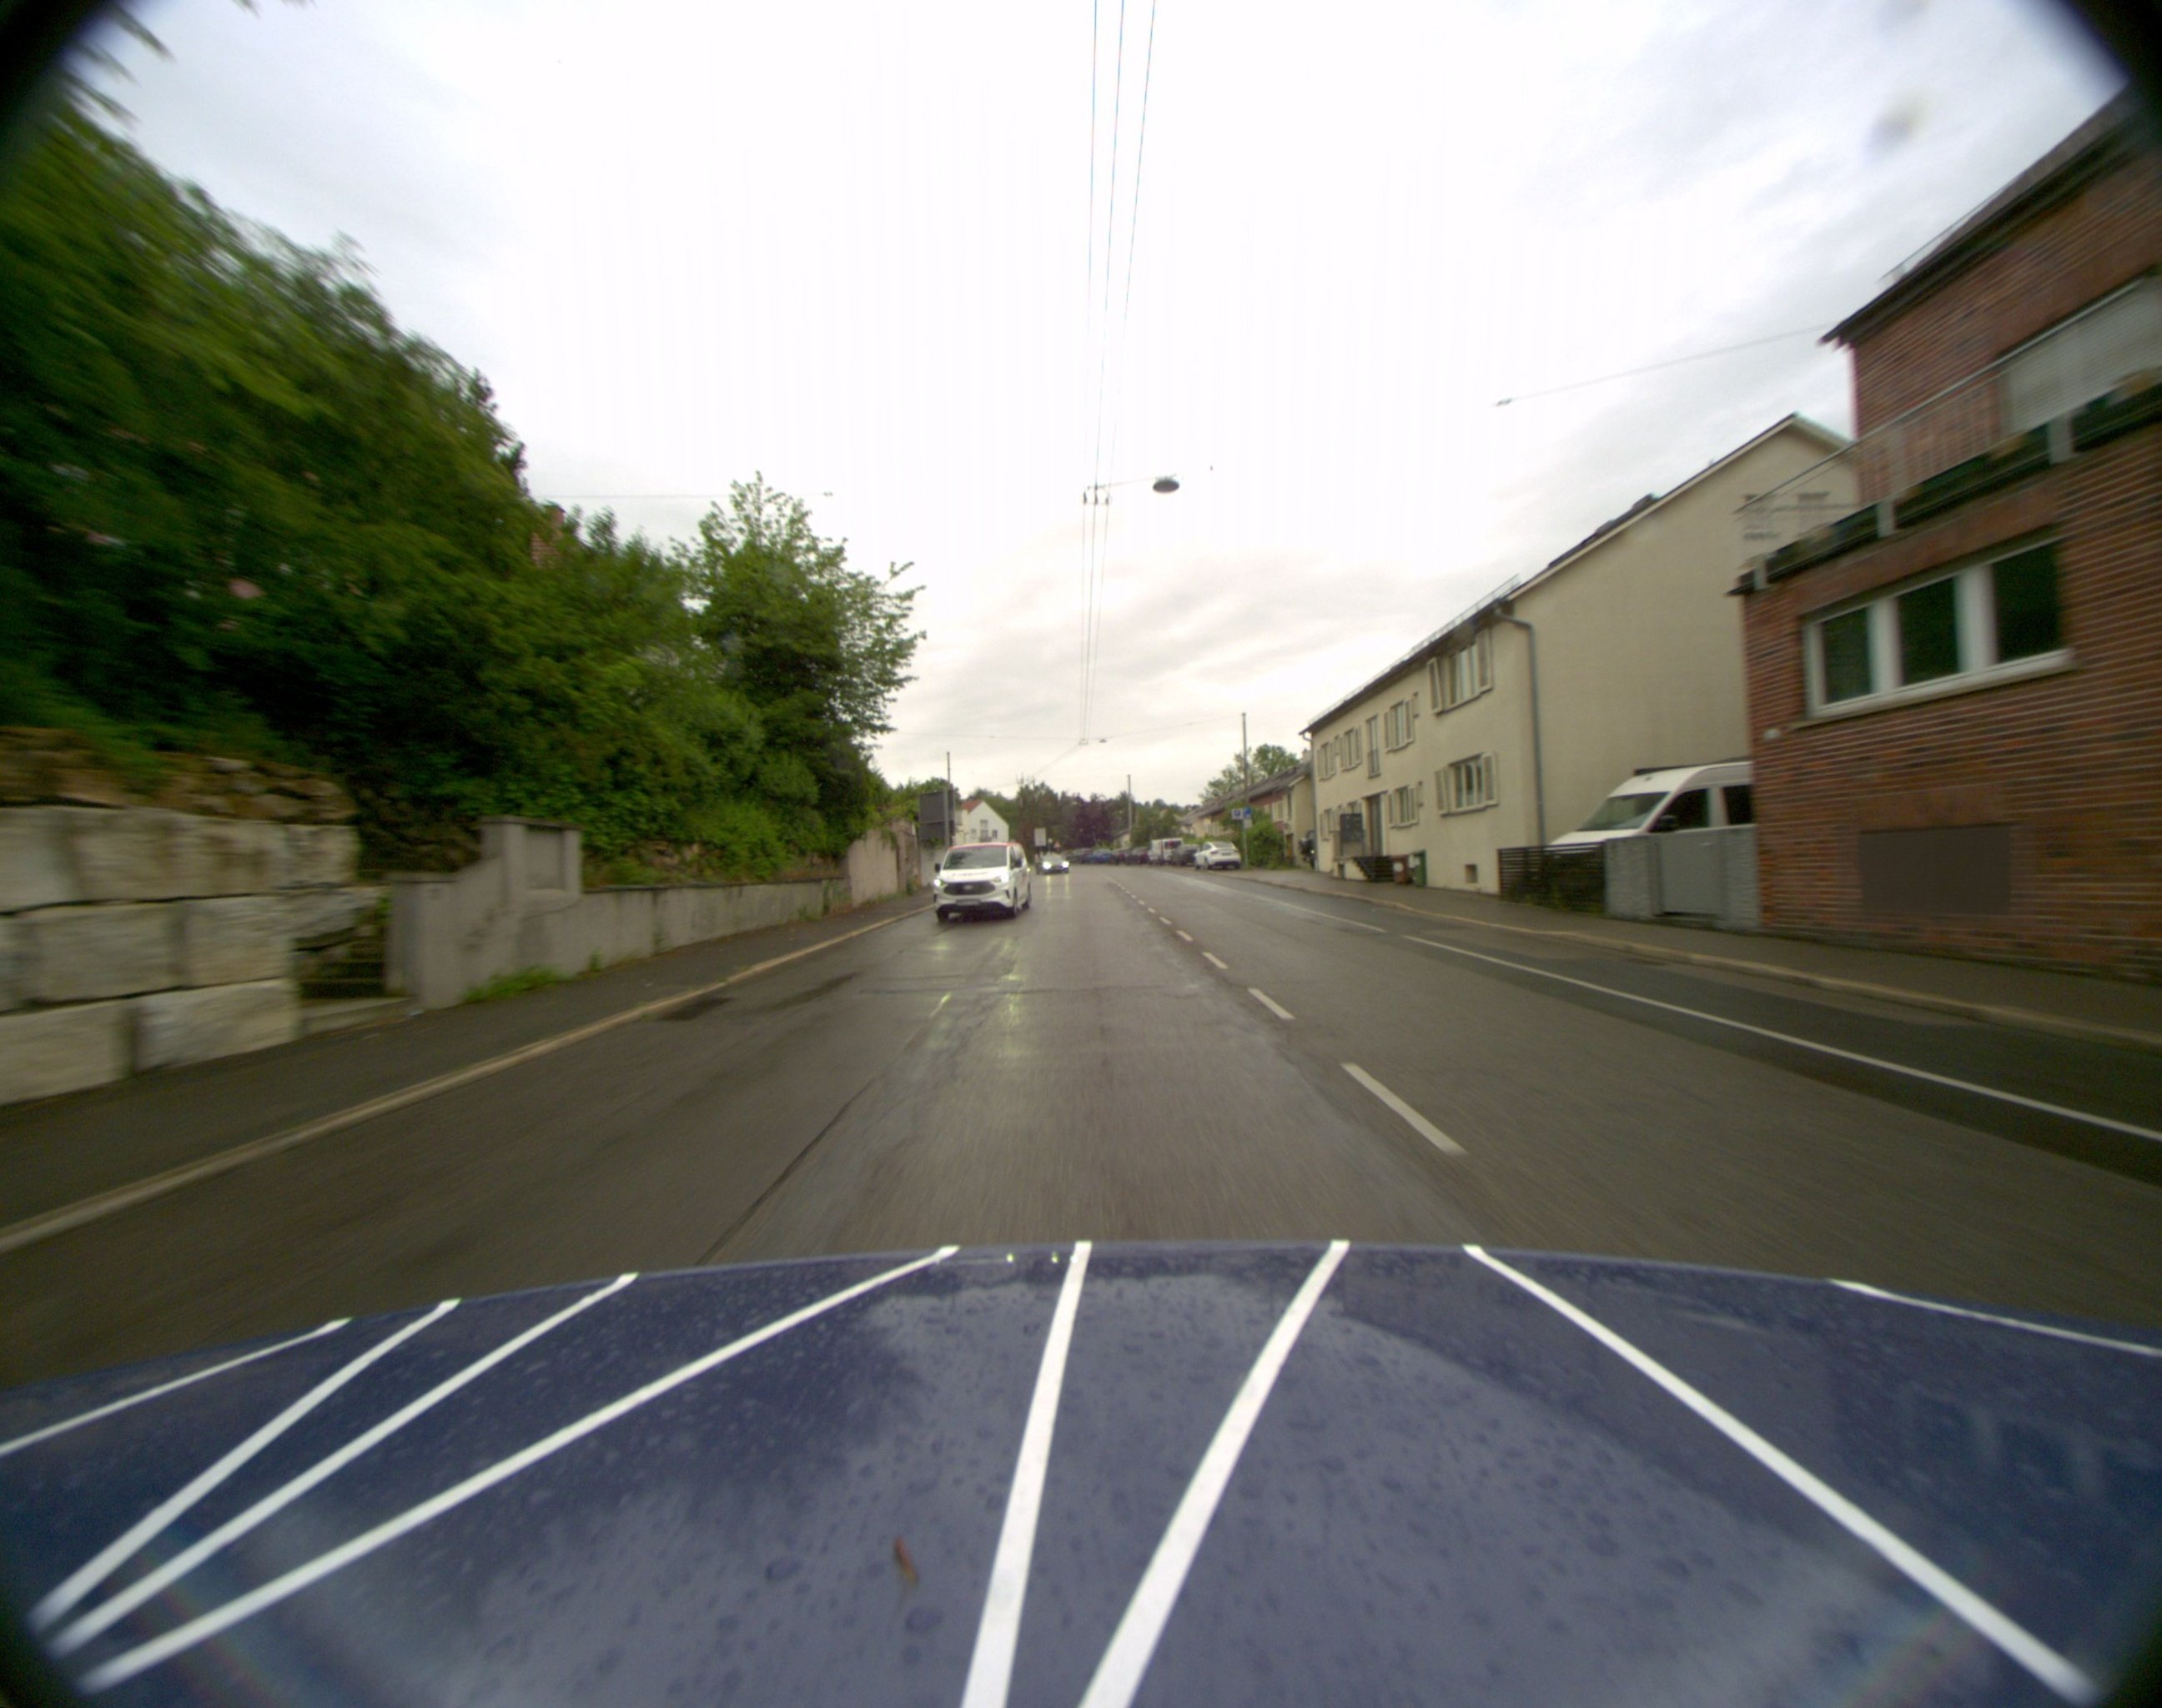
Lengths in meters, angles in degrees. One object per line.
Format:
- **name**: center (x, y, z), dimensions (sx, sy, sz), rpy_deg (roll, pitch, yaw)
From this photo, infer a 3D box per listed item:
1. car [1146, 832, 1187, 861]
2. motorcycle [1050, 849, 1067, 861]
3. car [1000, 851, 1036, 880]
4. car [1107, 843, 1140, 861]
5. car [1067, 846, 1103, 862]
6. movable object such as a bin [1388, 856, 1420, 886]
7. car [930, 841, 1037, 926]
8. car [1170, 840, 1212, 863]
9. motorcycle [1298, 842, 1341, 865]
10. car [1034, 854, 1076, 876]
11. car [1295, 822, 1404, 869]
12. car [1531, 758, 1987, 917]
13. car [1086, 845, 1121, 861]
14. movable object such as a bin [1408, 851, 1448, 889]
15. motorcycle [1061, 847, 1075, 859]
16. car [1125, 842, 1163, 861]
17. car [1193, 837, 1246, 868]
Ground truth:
- **car**: center (6.587, -0.555, 58.829), dimensions (1.854, 2.067, 5.016), rpy_deg (-3, 1, -8)
- **motorcycle**: center (-2.590, 0.083, 86.189), dimensions (1.810, 1.272, 0.510), rpy_deg (-2, 1, -27)
- **car**: center (-3.669, 0.639, 44.916), dimensions (1.794, 1.487, 4.704), rpy_deg (-3, 1, -2)
- **car**: center (3.860, -0.196, 69.642), dimensions (1.814, 1.468, 4.517), rpy_deg (-3, 1, -12)
- **car**: center (0.379, 0.007, 79.740), dimensions (1.930, 1.568, 4.378), rpy_deg (-4, 1, -26)
- **movable object such as a bin**: center (9.971, 0.517, 23.464), dimensions (0.675, 0.854, 0.708), rpy_deg (-3, 1, 0)
- **car**: center (-2.463, 0.684, 20.389), dimensions (2.041, 1.928, 4.515), rpy_deg (-3, 1, 2)
- **car**: center (7.526, -0.201, 52.422), dimensions (1.813, 1.468, 4.520), rpy_deg (-3, 1, -5)
- **motorcycle**: center (13.237, -0.022, 42.184), dimensions (2.098, 1.129, 0.839), rpy_deg (-2, 3, 3)
- **car**: center (-2.080, 0.807, 58.698), dimensions (2.168, 1.487, 4.699), rpy_deg (-3, 1, -15)
- **car**: center (12.771, -0.390, 36.288), dimensions (4.501, 2.002, 1.887), rpy_deg (-2, 0, -3)
- **car**: center (12.573, -0.315, 14.462), dimensions (6.670, 2.539, 2.167), rpy_deg (-2, 2, 1)
- **car**: center (2.184, -0.103, 75.029), dimensions (1.706, 1.397, 4.465), rpy_deg (-4, 1, -21)
- **movable object such as a bin**: center (9.915, 0.446, 21.714), dimensions (0.783, 1.041, 0.738), rpy_deg (-3, 1, 0)
- **motorcycle**: center (-1.456, -0.119, 83.689), dimensions (0.574, 1.264, 1.910), rpy_deg (-2, 1, 32)
- **car**: center (5.297, -0.236, 64.408), dimensions (1.815, 1.468, 4.516), rpy_deg (-3, 1, -14)
- **car**: center (8.047, -0.139, 44.483), dimensions (1.934, 1.622, 4.675), rpy_deg (-3, 1, -4)
